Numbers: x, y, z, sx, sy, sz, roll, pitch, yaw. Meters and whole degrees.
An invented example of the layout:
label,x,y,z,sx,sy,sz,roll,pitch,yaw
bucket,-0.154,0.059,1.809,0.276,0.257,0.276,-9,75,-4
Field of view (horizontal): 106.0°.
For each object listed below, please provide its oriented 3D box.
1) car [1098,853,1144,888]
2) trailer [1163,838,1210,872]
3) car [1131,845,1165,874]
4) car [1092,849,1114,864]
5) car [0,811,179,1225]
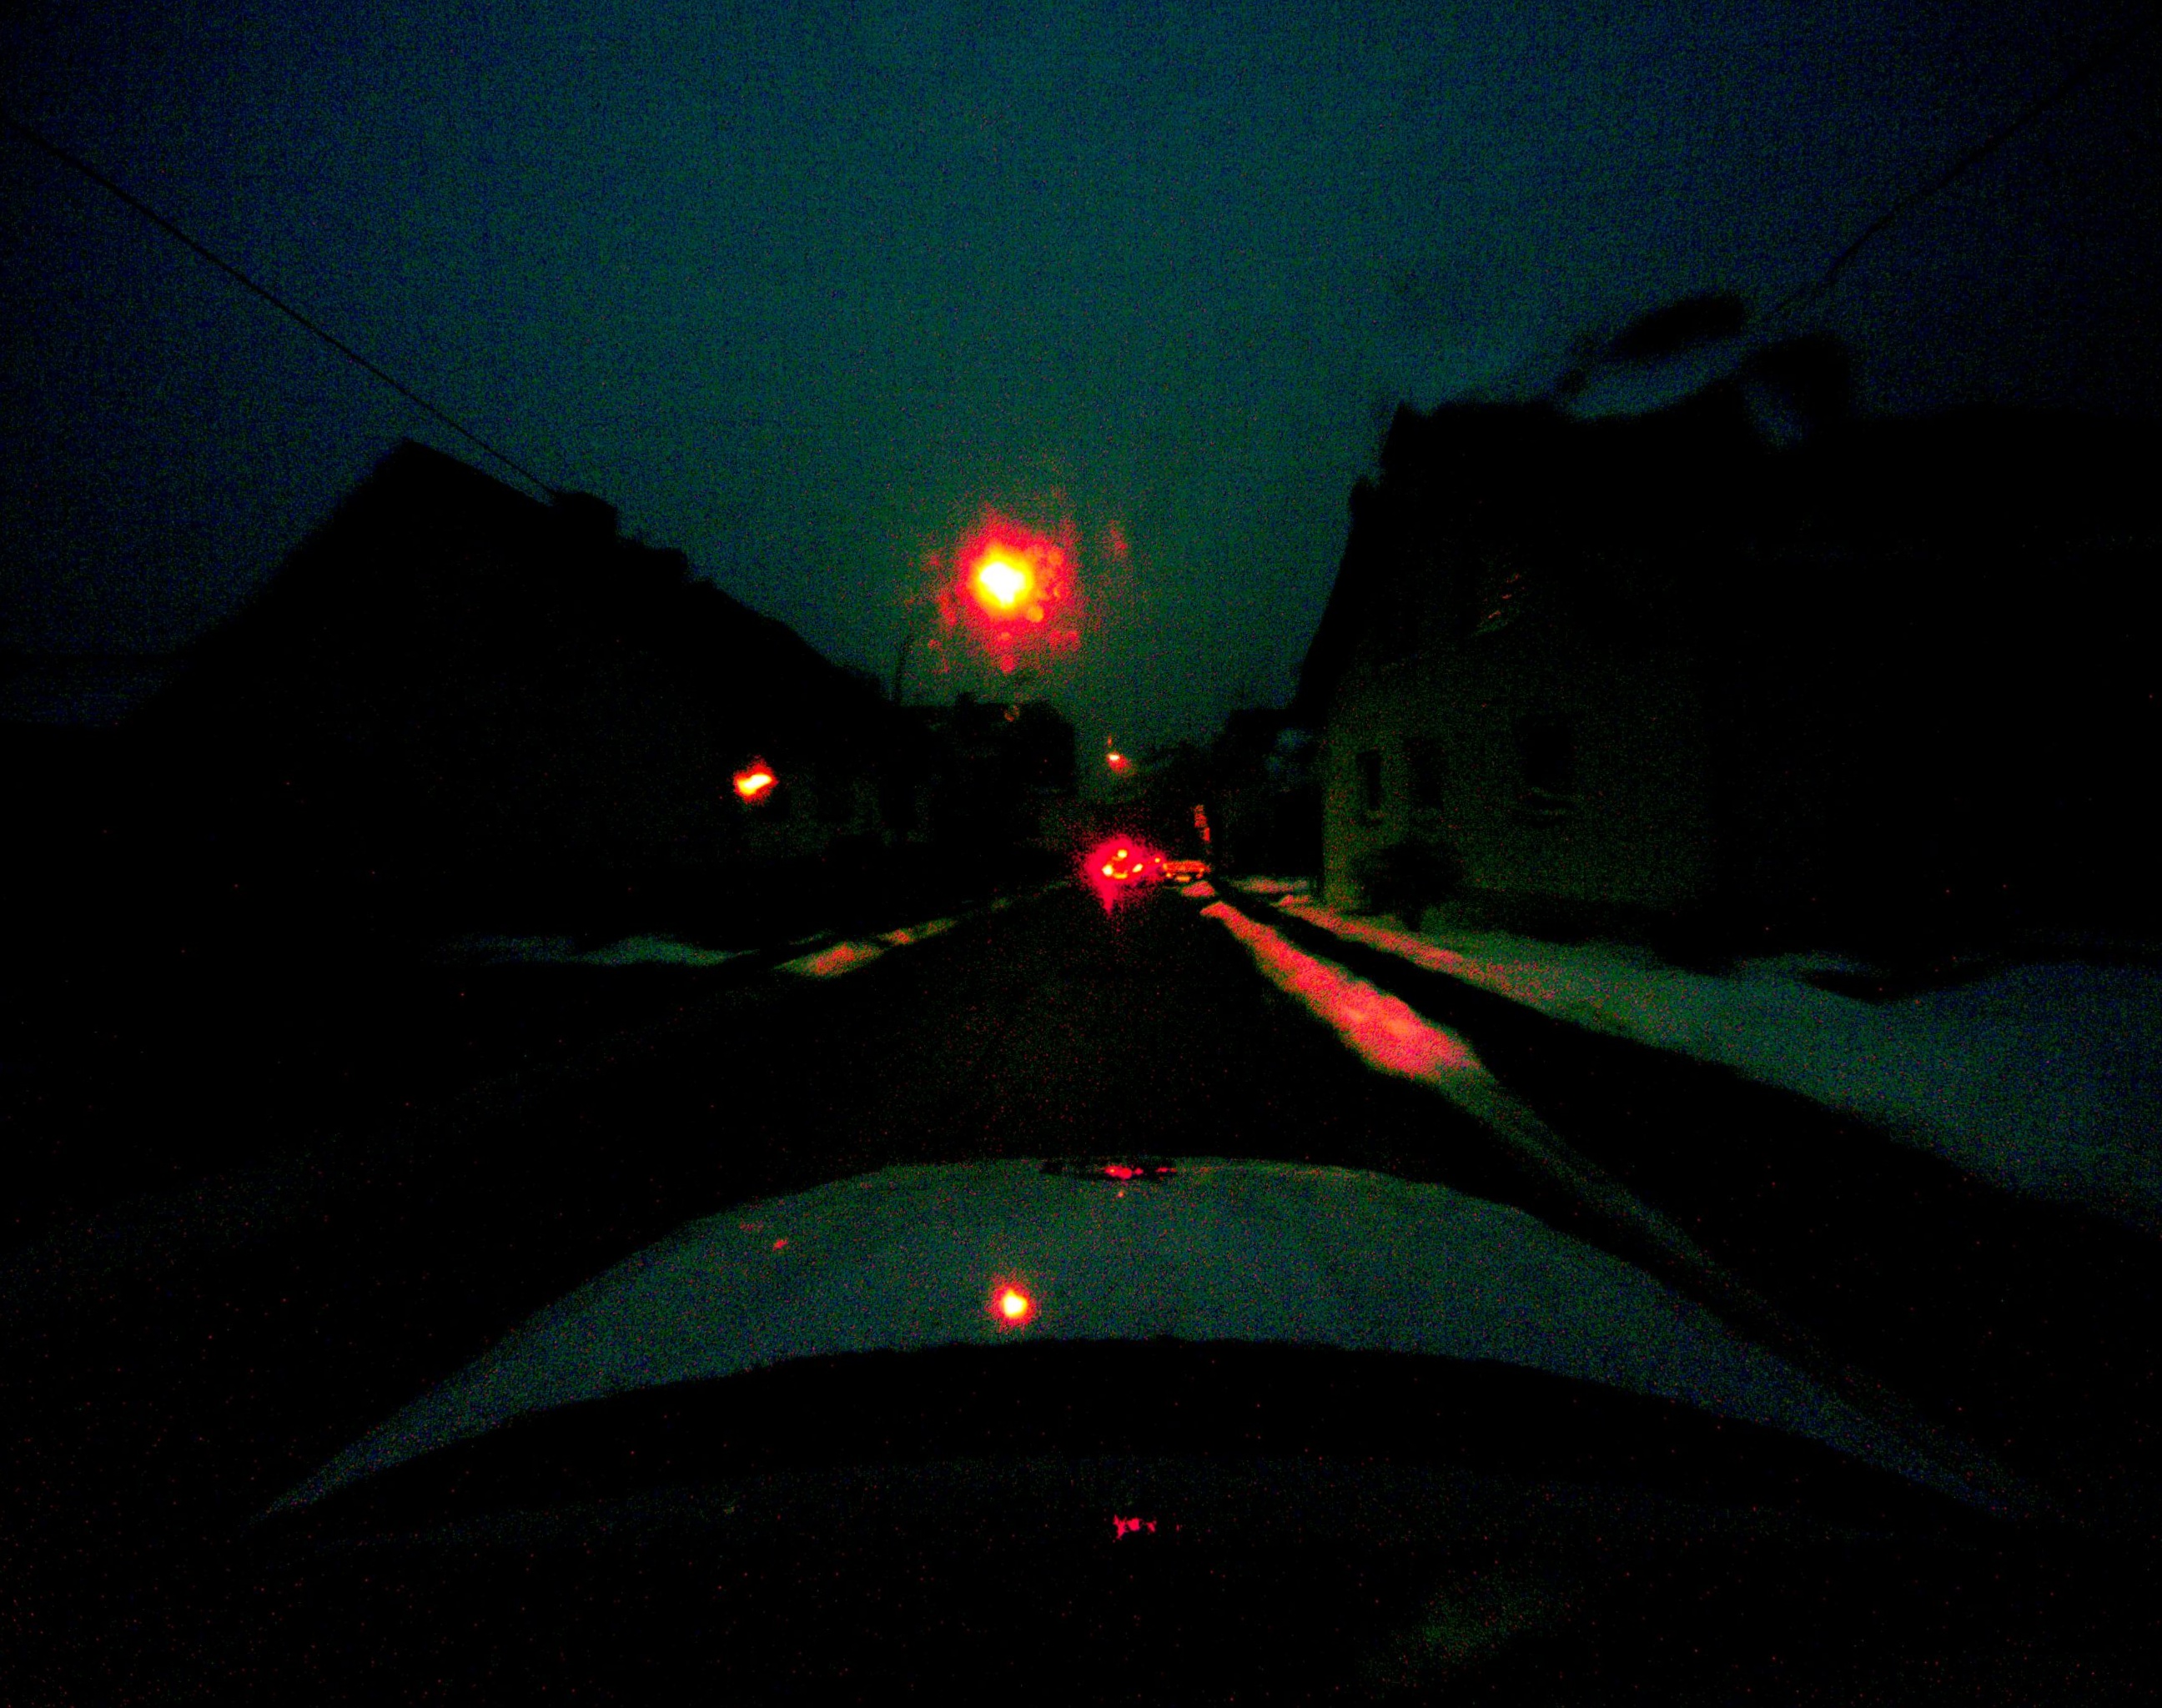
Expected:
label,x,y,z,sx,sy,sz,roll,pitch,yaw
car,1.893,0.734,37.277,1.984,1.508,4.004,-1,-1,4
trailer,4.812,0.018,36.995,1.982,1.388,4.742,-1,1,8
car,4.143,0.342,50.808,1.985,1.728,4.003,-1,-1,3
car,2.302,0.236,87.465,1.907,1.481,4.276,-3,1,-4
car,-6.765,0.634,3.187,4.766,1.666,1.894,1,1,7
